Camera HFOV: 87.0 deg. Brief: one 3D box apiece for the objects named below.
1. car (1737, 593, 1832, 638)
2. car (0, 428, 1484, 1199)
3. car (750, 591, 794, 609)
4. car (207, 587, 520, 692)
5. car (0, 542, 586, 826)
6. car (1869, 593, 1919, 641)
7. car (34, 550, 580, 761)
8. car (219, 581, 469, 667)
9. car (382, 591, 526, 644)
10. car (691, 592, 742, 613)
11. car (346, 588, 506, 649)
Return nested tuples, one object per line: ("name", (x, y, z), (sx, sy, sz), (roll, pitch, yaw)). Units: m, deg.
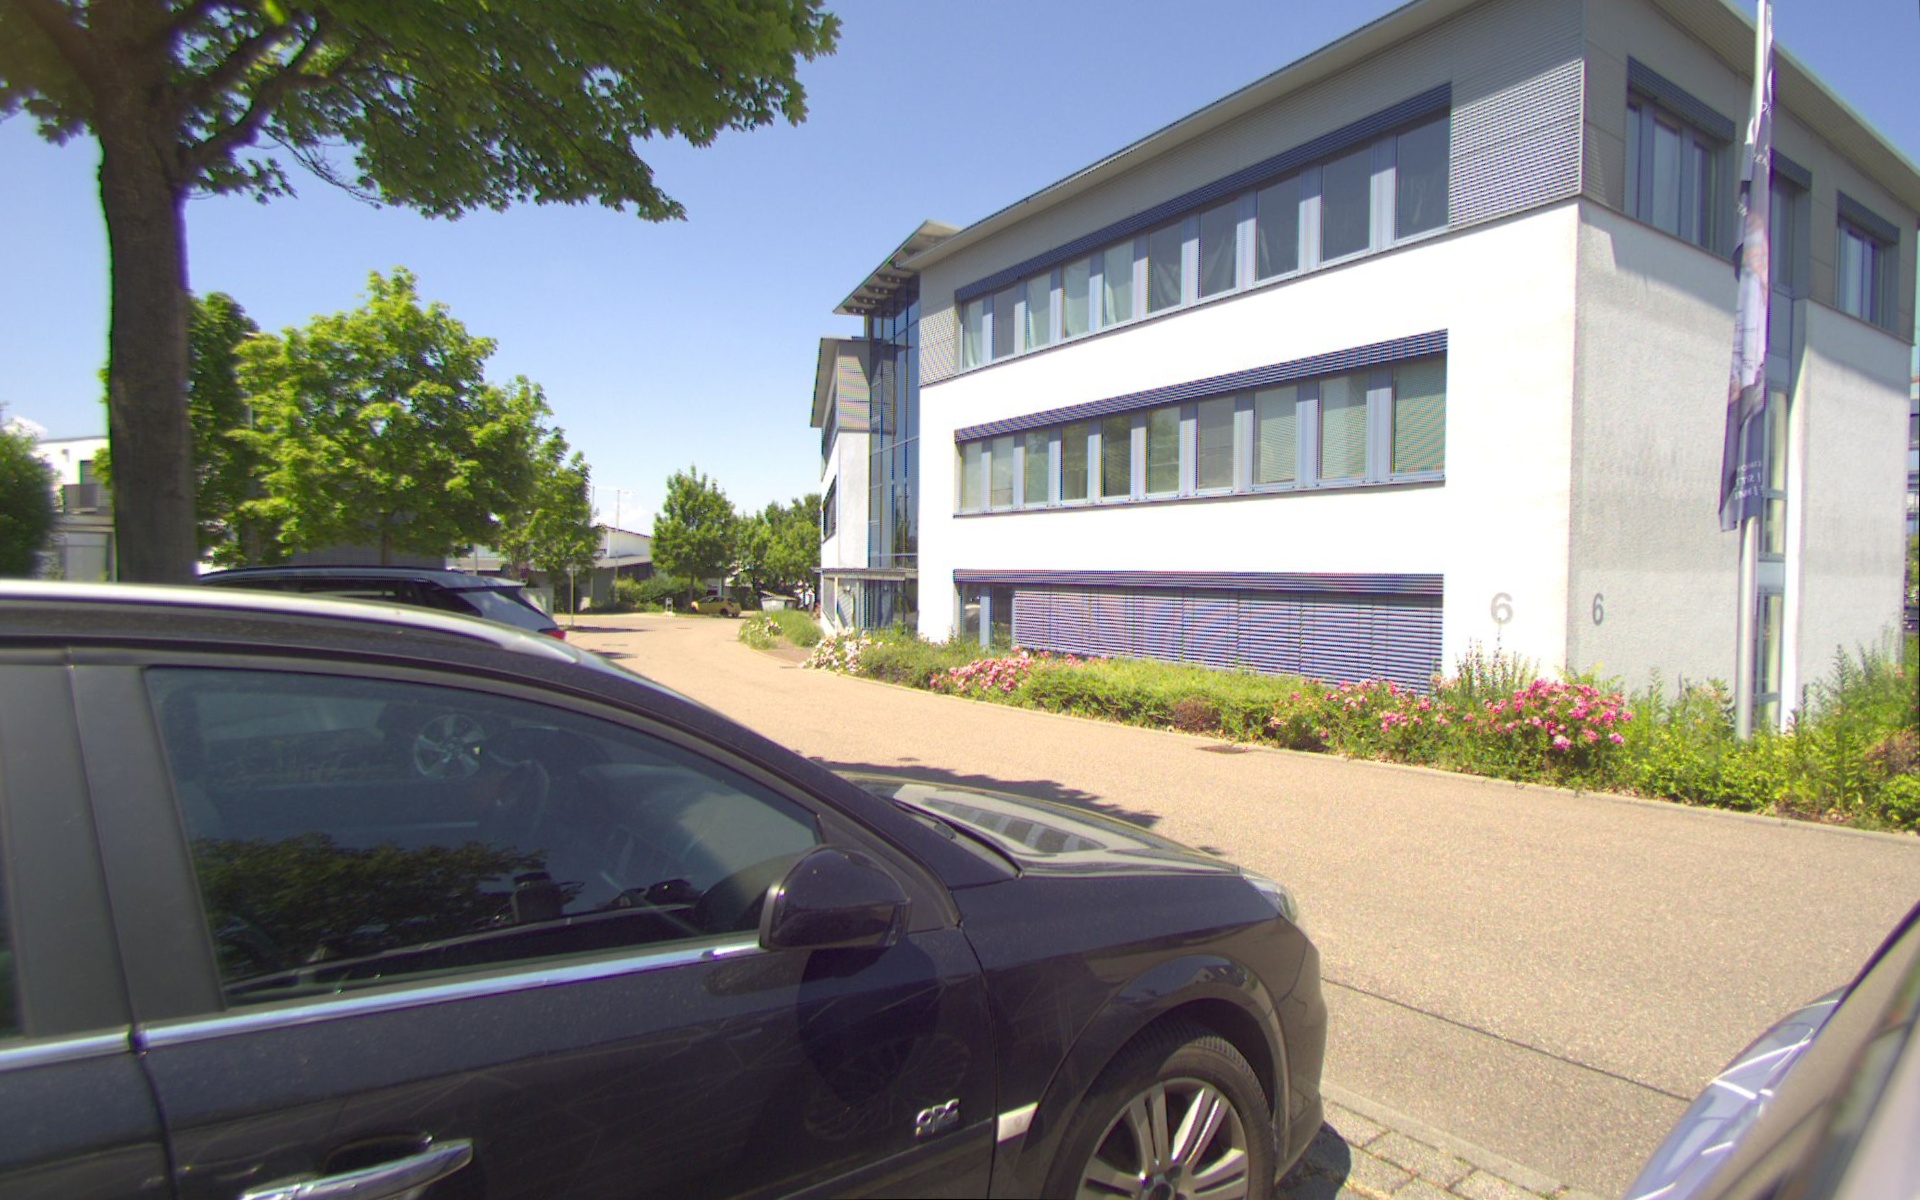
("car", (30.595, 0.525, 37.534), (3.925, 1.565, 1.788), (-1, 1, -36))
("car", (-1.032, 0.627, 1.838), (4.480, 1.569, 1.763), (0, 0, -37))
("car", (-15.262, 0.020, 82.347), (3.172, 1.460, 1.580), (0, 0, 18))
("car", (-9.354, 0.599, 16.224), (4.092, 1.505, 1.663), (1, -1, -27))
("car", (-5.165, 0.506, 7.363), (4.249, 1.664, 1.857), (1, -1, -35))
("car", (32.699, 0.547, 34.506), (3.925, 1.565, 1.788), (-1, 1, -36))
("car", (-6.070, 0.470, 9.869), (4.122, 1.664, 1.661), (1, -1, -35))
("car", (-12.405, 0.497, 20.693), (4.090, 1.625, 1.664), (1, -1, -21))
("car", (-14.671, 0.501, 29.530), (3.514, 1.461, 1.639), (1, -1, -17))
("car", (-17.130, 0.188, 71.149), (3.172, 1.460, 1.580), (0, 0, 18))
("car", (-14.229, 0.495, 27.180), (3.514, 1.545, 1.639), (1, -1, -17))
